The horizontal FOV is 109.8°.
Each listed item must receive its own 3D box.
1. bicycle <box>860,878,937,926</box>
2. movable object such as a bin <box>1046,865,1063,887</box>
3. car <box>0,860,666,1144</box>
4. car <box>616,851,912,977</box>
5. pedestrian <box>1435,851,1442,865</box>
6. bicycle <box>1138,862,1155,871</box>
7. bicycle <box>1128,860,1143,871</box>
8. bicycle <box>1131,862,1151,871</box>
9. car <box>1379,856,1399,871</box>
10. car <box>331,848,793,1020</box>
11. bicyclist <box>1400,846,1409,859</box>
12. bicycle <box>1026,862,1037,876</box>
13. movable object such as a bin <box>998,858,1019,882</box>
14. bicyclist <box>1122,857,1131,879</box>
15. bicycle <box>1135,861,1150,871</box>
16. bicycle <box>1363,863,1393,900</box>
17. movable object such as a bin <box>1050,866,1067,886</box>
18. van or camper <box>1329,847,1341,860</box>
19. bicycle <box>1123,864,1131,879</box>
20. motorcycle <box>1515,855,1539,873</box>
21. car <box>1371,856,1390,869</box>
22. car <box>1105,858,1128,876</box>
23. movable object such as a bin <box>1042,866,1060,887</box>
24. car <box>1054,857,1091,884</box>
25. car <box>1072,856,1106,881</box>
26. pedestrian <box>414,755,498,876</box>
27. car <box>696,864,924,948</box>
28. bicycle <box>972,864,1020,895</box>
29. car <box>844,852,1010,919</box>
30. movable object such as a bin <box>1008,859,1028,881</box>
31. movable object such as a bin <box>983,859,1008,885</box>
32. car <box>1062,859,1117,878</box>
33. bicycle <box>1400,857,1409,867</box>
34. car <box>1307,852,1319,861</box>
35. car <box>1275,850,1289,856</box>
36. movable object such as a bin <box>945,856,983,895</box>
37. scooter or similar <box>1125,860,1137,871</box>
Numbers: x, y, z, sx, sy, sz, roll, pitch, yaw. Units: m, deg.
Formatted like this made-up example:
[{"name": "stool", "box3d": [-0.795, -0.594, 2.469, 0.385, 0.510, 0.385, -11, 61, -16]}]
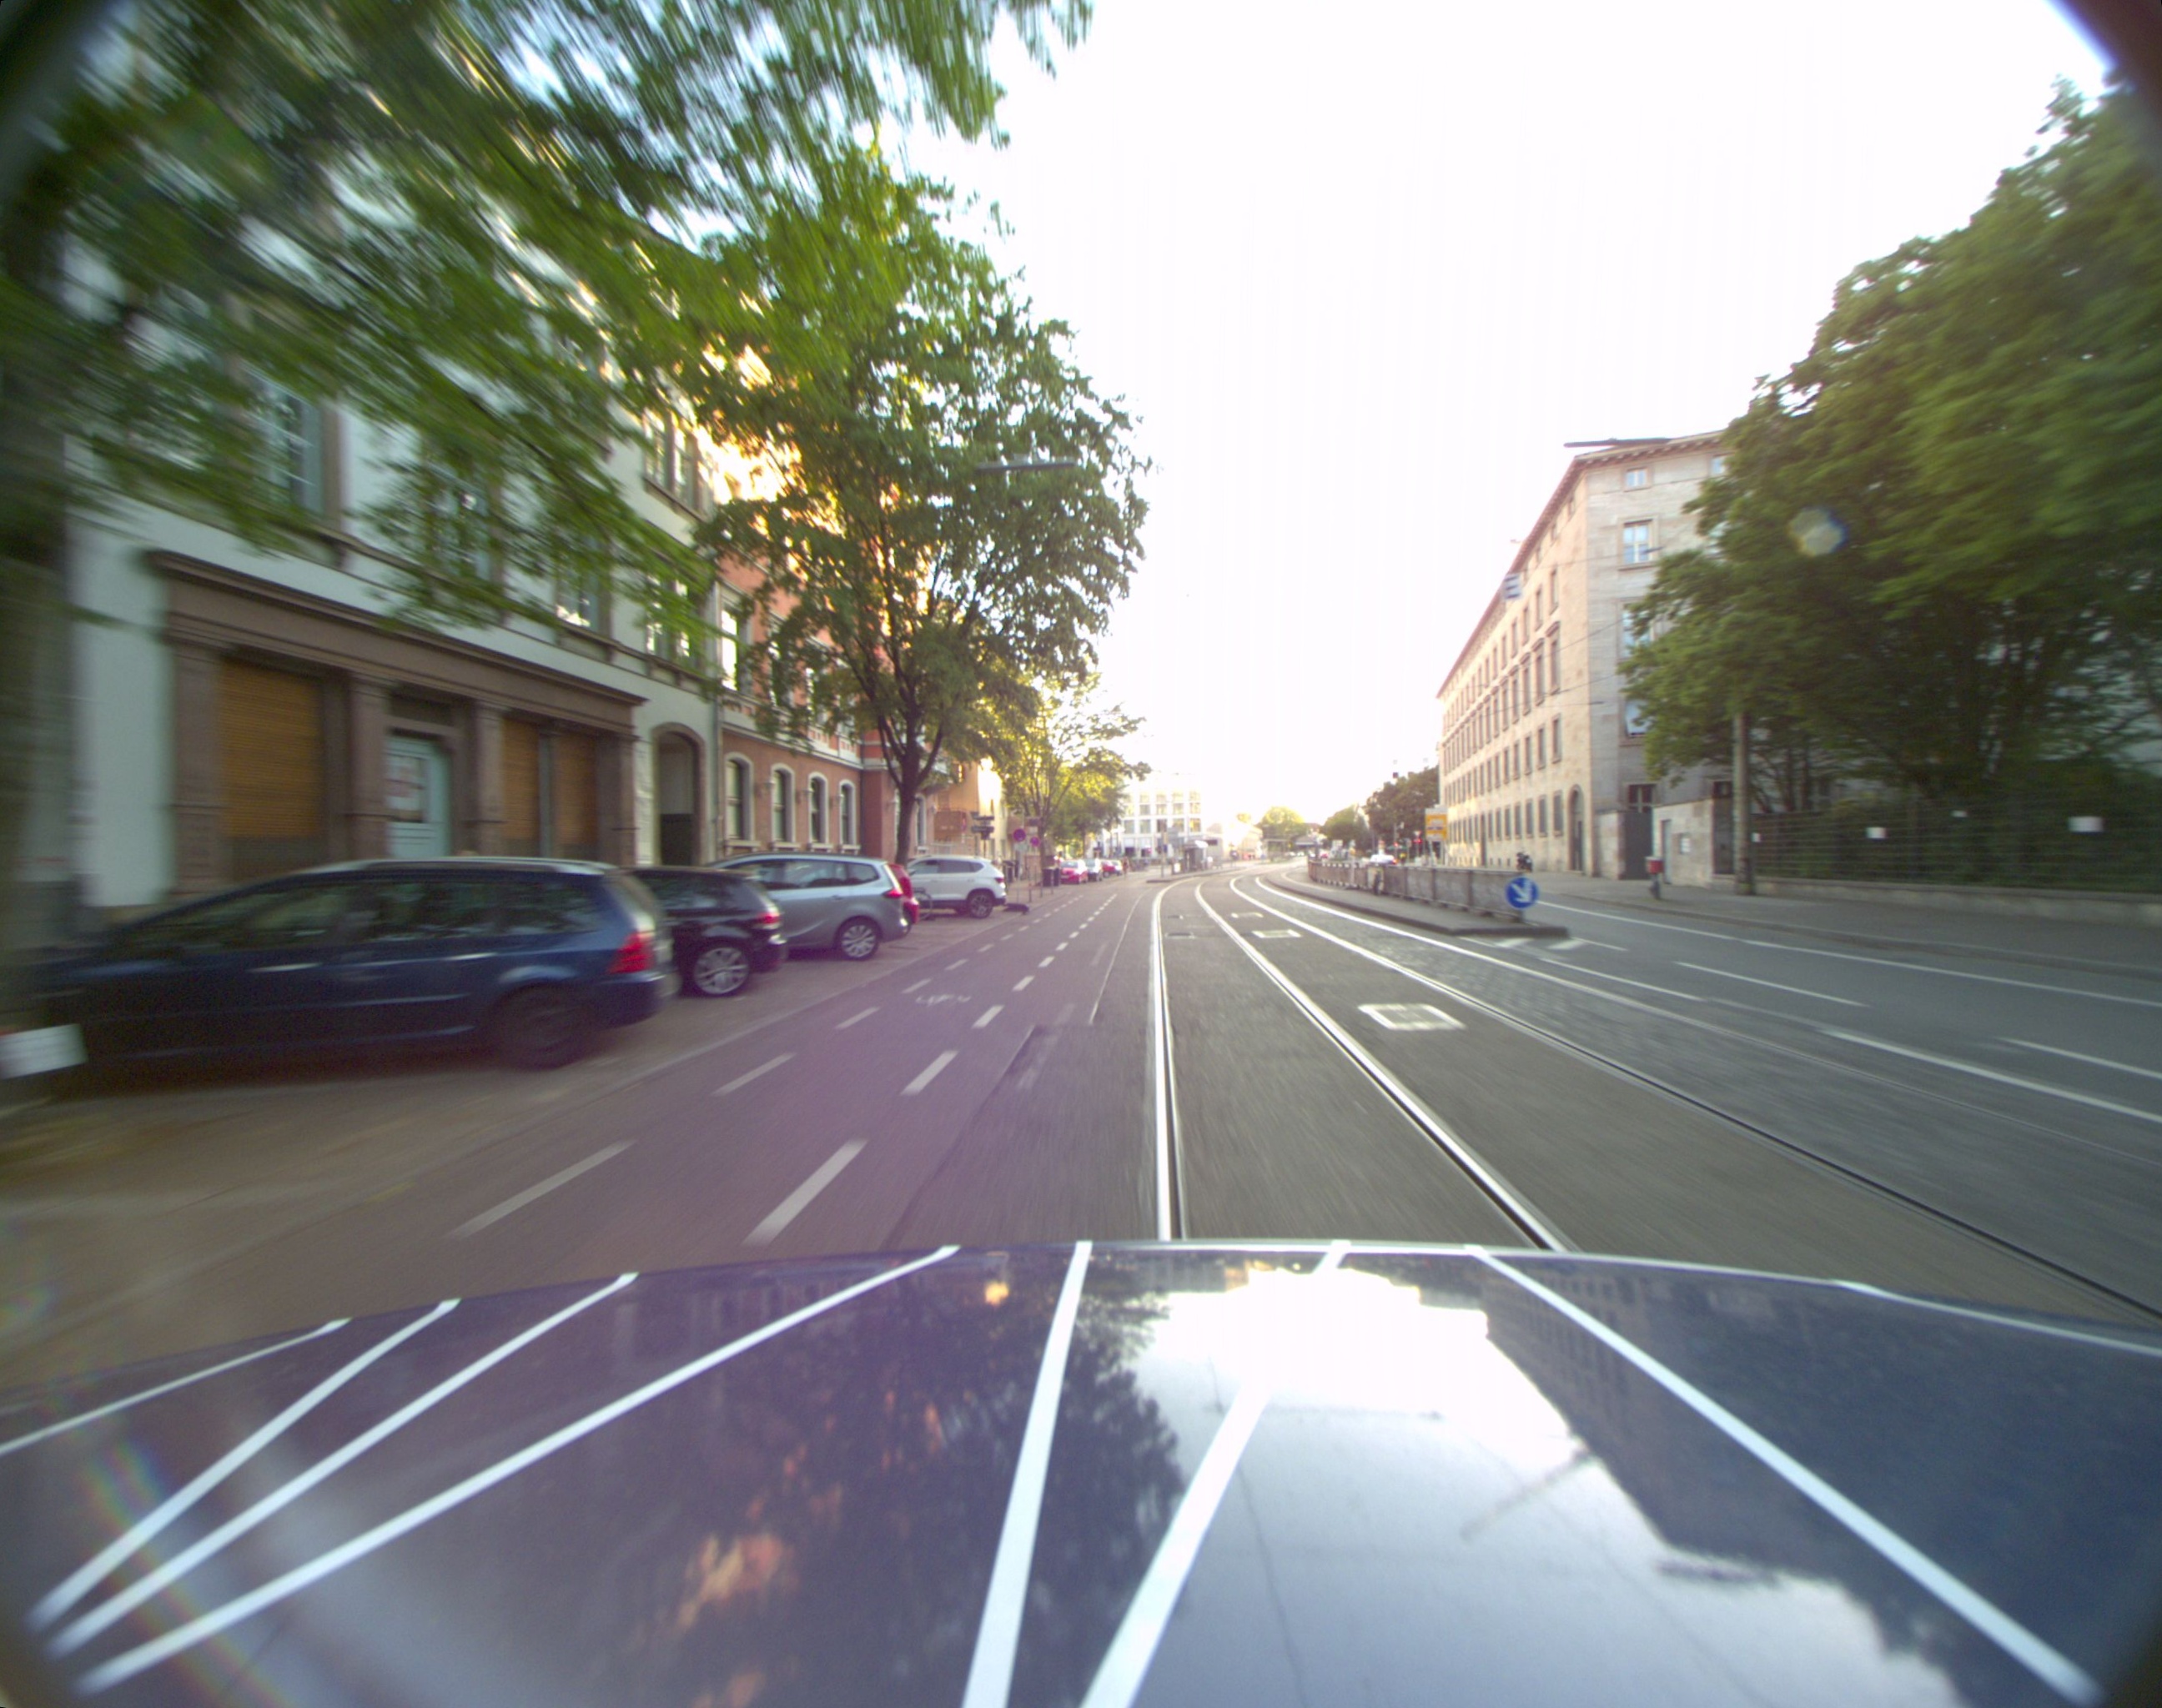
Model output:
[{"name": "bicycle", "box3d": [-4.228, 1.116, 17.615, 1.671, 1.068, 0.463, 2, -1, -18]}, {"name": "movable object such as a bin", "box3d": [-1.477, 1.224, 42.309, 0.713, 1.147, 0.589, -2, 0, 18]}, {"name": "car", "box3d": [-5.479, 0.892, 5.795, 3.961, 1.594, 1.836, 1, 1, -26]}, {"name": "car", "box3d": [-4.869, 0.842, 11.904, 3.961, 1.659, 1.897, 1, 0, -27]}, {"name": "pedestrian", "box3d": [41.999, 0.479, 89.170, 0.696, 1.700, 0.647, -1, 0, 22]}, {"name": "bicycle", "box3d": [7.763, 1.489, 90.172, 1.861, 1.068, 0.746, -2, 0, 36]}, {"name": "bicycle", "box3d": [6.200, 1.280, 85.830, 1.527, 1.156, 0.745, -2, 0, 21]}, {"name": "bicycle", "box3d": [7.091, 1.466, 89.338, 2.232, 1.125, 0.745, 0, 0, 21]}, {"name": "car", "box3d": [30.396, 0.919, 75.055, 1.644, 1.419, 3.710, -1, 0, 19]}, {"name": "car", "box3d": [-5.531, 0.846, 8.723, 3.961, 1.594, 1.743, 3, 0, -25]}, {"name": "bicyclist", "box3d": [34.275, -0.156, 80.553, 0.757, 1.432, 0.598, -1, 0, 19]}, {"name": "bicycle", "box3d": [-4.013, 1.229, 61.325, 0.652, 1.068, 1.557, -2, 0, 5]}, {"name": "movable object such as a bin", "box3d": [-4.554, 1.011, 47.880, 1.074, 1.493, 1.319, -2, 0, 4]}, {"name": "bicyclist", "box3d": [3.464, 1.050, 57.658, 0.610, 1.626, 0.597, -1, 0, 4]}, {"name": "bicycle", "box3d": [7.017, 1.384, 87.089, 1.552, 1.068, 0.745, -1, 0, 21]}, {"name": "bicycle", "box3d": [9.164, 0.825, 23.513, 0.463, 1.068, 2.023, -1, 0, 10]}, {"name": "movable object such as a bin", "box3d": [-1.295, 1.247, 43.795, 0.624, 1.147, 0.714, -1, 0, -41]}, {"name": "van or camper", "box3d": [53.820, -0.082, 160.960, 2.107, 2.664, 4.719, -2, -3, 21]}, {"name": "bicycle", "box3d": [3.490, 1.289, 57.805, 0.609, 1.108, 2.087, -1, 0, 4]}, {"name": "motorcycle", "box3d": [27.211, 0.598, 46.386, 0.699, 1.068, 2.657, -1, 0, 19]}, {"name": "car", "box3d": [32.038, 0.901, 81.382, 1.644, 1.419, 4.238, 0, 0, 19]}, {"name": "car", "box3d": [3.382, 1.216, 71.472, 1.683, 1.543, 4.003, 2, 0, 8]}, {"name": "movable object such as a bin", "box3d": [-1.668, 1.221, 41.769, 0.794, 1.147, 0.589, -2, 0, 18]}, {"name": "car", "box3d": [-0.489, 0.969, 46.664, 1.567, 1.527, 3.696, 1, 0, 10]}, {"name": "car", "box3d": [0.583, 0.979, 52.498, 1.746, 1.622, 4.091, 1, 0, 8]}, {"name": "pedestrian", "box3d": [-8.574, -0.512, 10.443, 0.587, 1.600, 0.625, -1, 0, 6]}, {"name": "car", "box3d": [-5.268, 0.966, 14.916, 3.960, 1.468, 1.827, 1, -1, -23]}, {"name": "bicycle", "box3d": [-3.560, 1.049, 31.899, 1.921, 1.259, 0.600, -1, 0, -29]}, {"name": "car", "box3d": [-4.018, 0.821, 19.880, 3.960, 1.617, 1.671, 1, -1, -25]}, {"name": "movable object such as a bin", "box3d": [-4.452, 1.128, 53.964, 1.115, 1.493, 1.483, -2, 0, 5]}, {"name": "movable object such as a bin", "box3d": [-5.166, 1.070, 45.823, 1.143, 1.493, 1.599, -2, 0, 5]}, {"name": "car", "box3d": [0.685, 1.174, 62.254, 4.215, 1.445, 1.642, -1, 0, -24]}, {"name": "bicycle", "box3d": [34.211, 0.835, 80.304, 0.742, 1.011, 1.763, -1, 0, 19]}, {"name": "car", "box3d": [40.123, 0.381, 131.477, 1.695, 1.412, 4.179, -1, 0, 20]}, {"name": "car", "box3d": [61.781, -0.343, 233.403, 3.801, 1.639, 1.866, -1, 0, 19]}, {"name": "movable object such as a bin", "box3d": [-4.636, 0.850, 30.271, 1.143, 1.493, 1.399, -2, 0, 5]}, {"name": "scooter or similar", "box3d": [5.589, 1.301, 84.817, 1.201, 1.218, 0.592, 1, 1, 19]}]
